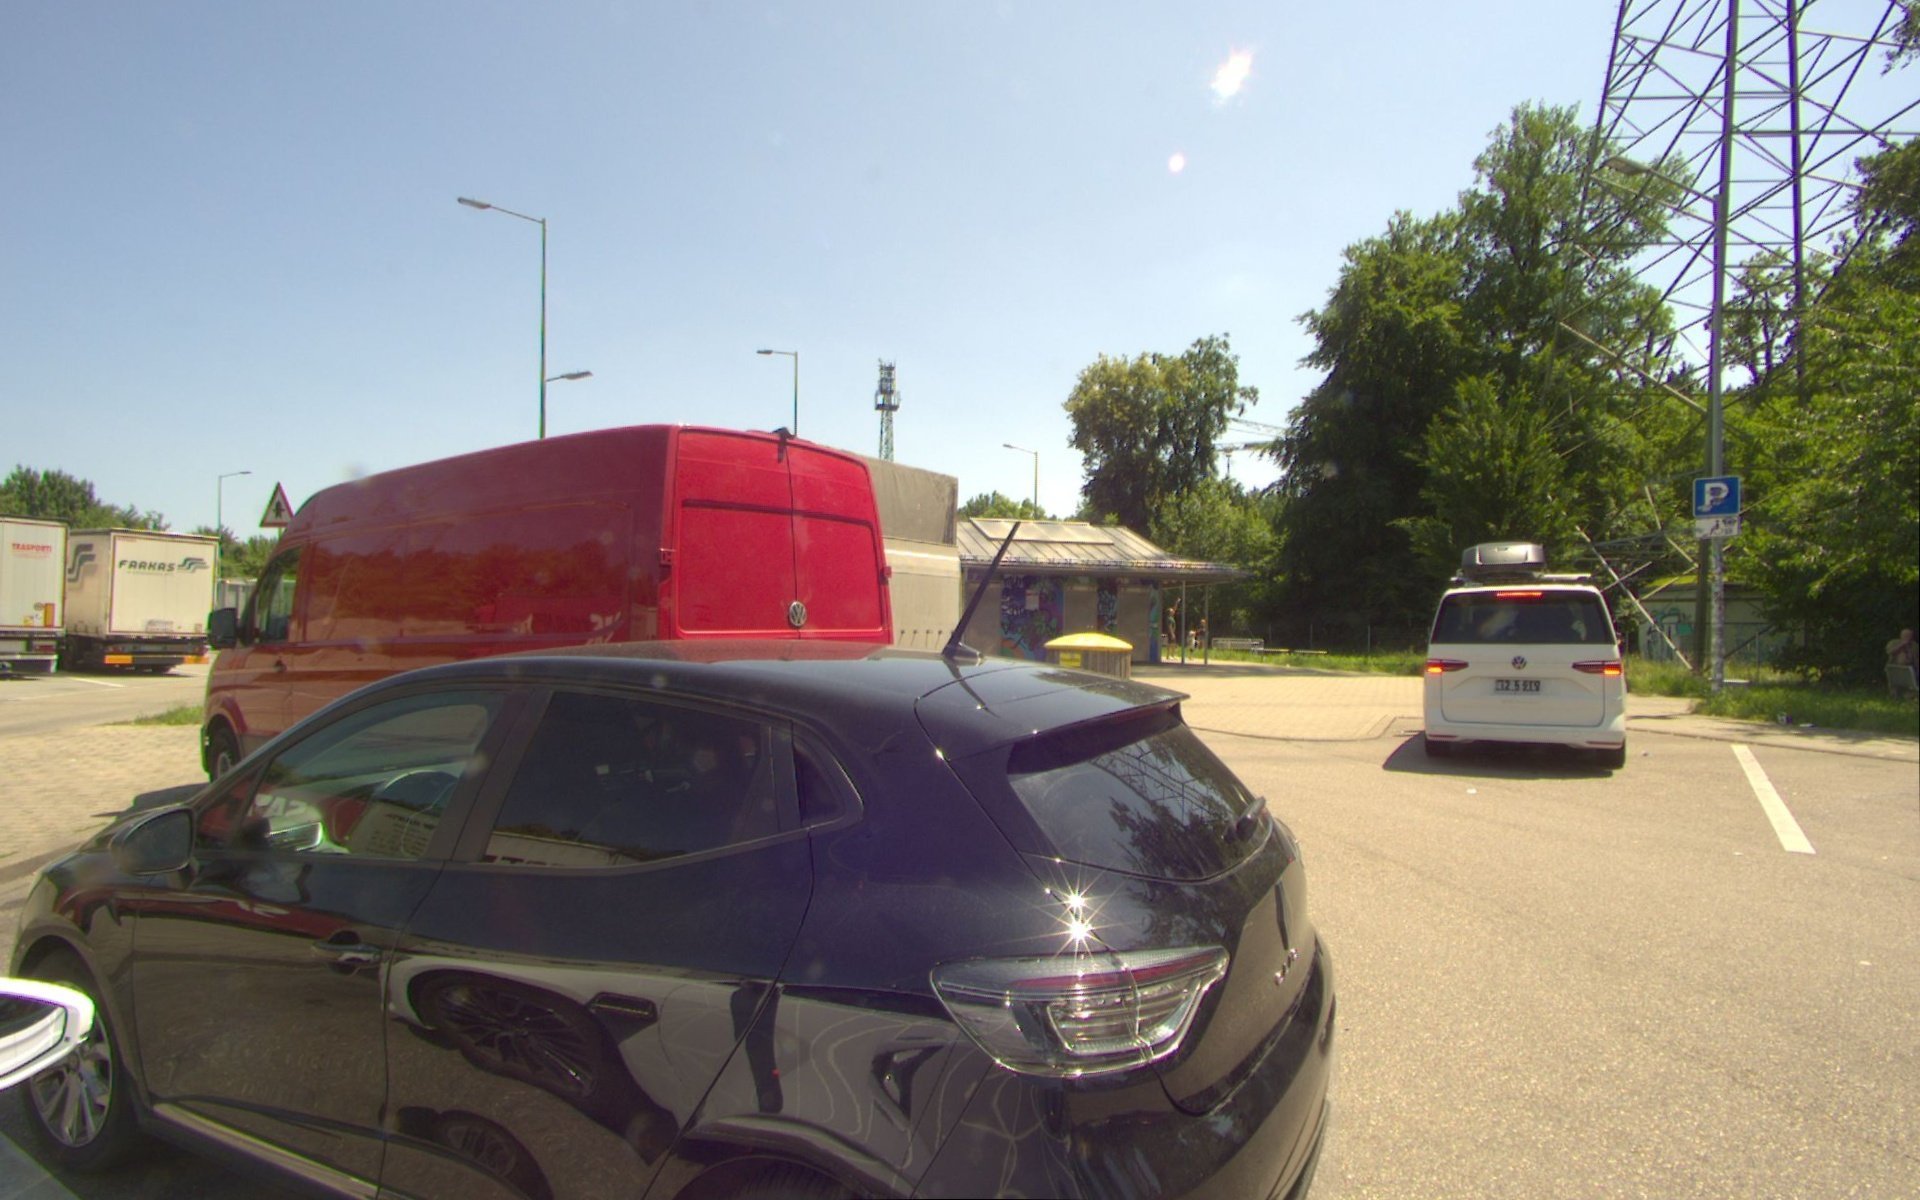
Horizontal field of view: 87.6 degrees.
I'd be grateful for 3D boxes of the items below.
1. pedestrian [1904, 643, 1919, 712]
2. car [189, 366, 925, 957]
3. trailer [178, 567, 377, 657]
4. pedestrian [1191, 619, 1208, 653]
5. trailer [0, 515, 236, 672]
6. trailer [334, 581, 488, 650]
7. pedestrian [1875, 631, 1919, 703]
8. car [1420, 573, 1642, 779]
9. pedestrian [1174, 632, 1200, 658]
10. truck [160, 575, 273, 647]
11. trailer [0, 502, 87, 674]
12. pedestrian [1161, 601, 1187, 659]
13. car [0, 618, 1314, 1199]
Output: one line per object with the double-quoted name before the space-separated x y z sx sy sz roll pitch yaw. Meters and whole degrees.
"pedestrian" 17.185 1.352 17.486 0.876 1.192 0.666 -1 -2 32
"car" -3.358 0.308 7.365 6.310 2.731 2.060 0 -1 37
"trailer" -32.393 0.476 47.145 13.530 3.764 2.834 1 -2 34
"pedestrian" 10.916 1.652 45.644 0.633 1.547 0.565 0 -1 -1
"trailer" -27.666 -0.197 31.635 13.523 4.185 2.835 1 -2 33
"trailer" -36.058 0.904 65.438 13.530 4.101 2.834 1 -2 34
"pedestrian" 18.776 1.323 19.963 0.660 1.422 0.647 -1 -1 33
"car" 6.518 0.767 11.850 1.881 1.937 4.549 -1 -1 26
"pedestrian" 8.308 1.637 36.663 0.763 0.960 0.646 0 -1 -6
"truck" -37.702 0.560 50.744 5.405 3.407 2.847 1 -2 34
"trailer" -28.975 -0.374 28.154 13.523 4.185 2.835 1 -2 33
"pedestrian" 7.801 1.095 36.490 0.763 2.067 0.646 0 -1 -6
"car" -1.066 0.834 2.914 3.757 1.501 1.736 0 -1 27
